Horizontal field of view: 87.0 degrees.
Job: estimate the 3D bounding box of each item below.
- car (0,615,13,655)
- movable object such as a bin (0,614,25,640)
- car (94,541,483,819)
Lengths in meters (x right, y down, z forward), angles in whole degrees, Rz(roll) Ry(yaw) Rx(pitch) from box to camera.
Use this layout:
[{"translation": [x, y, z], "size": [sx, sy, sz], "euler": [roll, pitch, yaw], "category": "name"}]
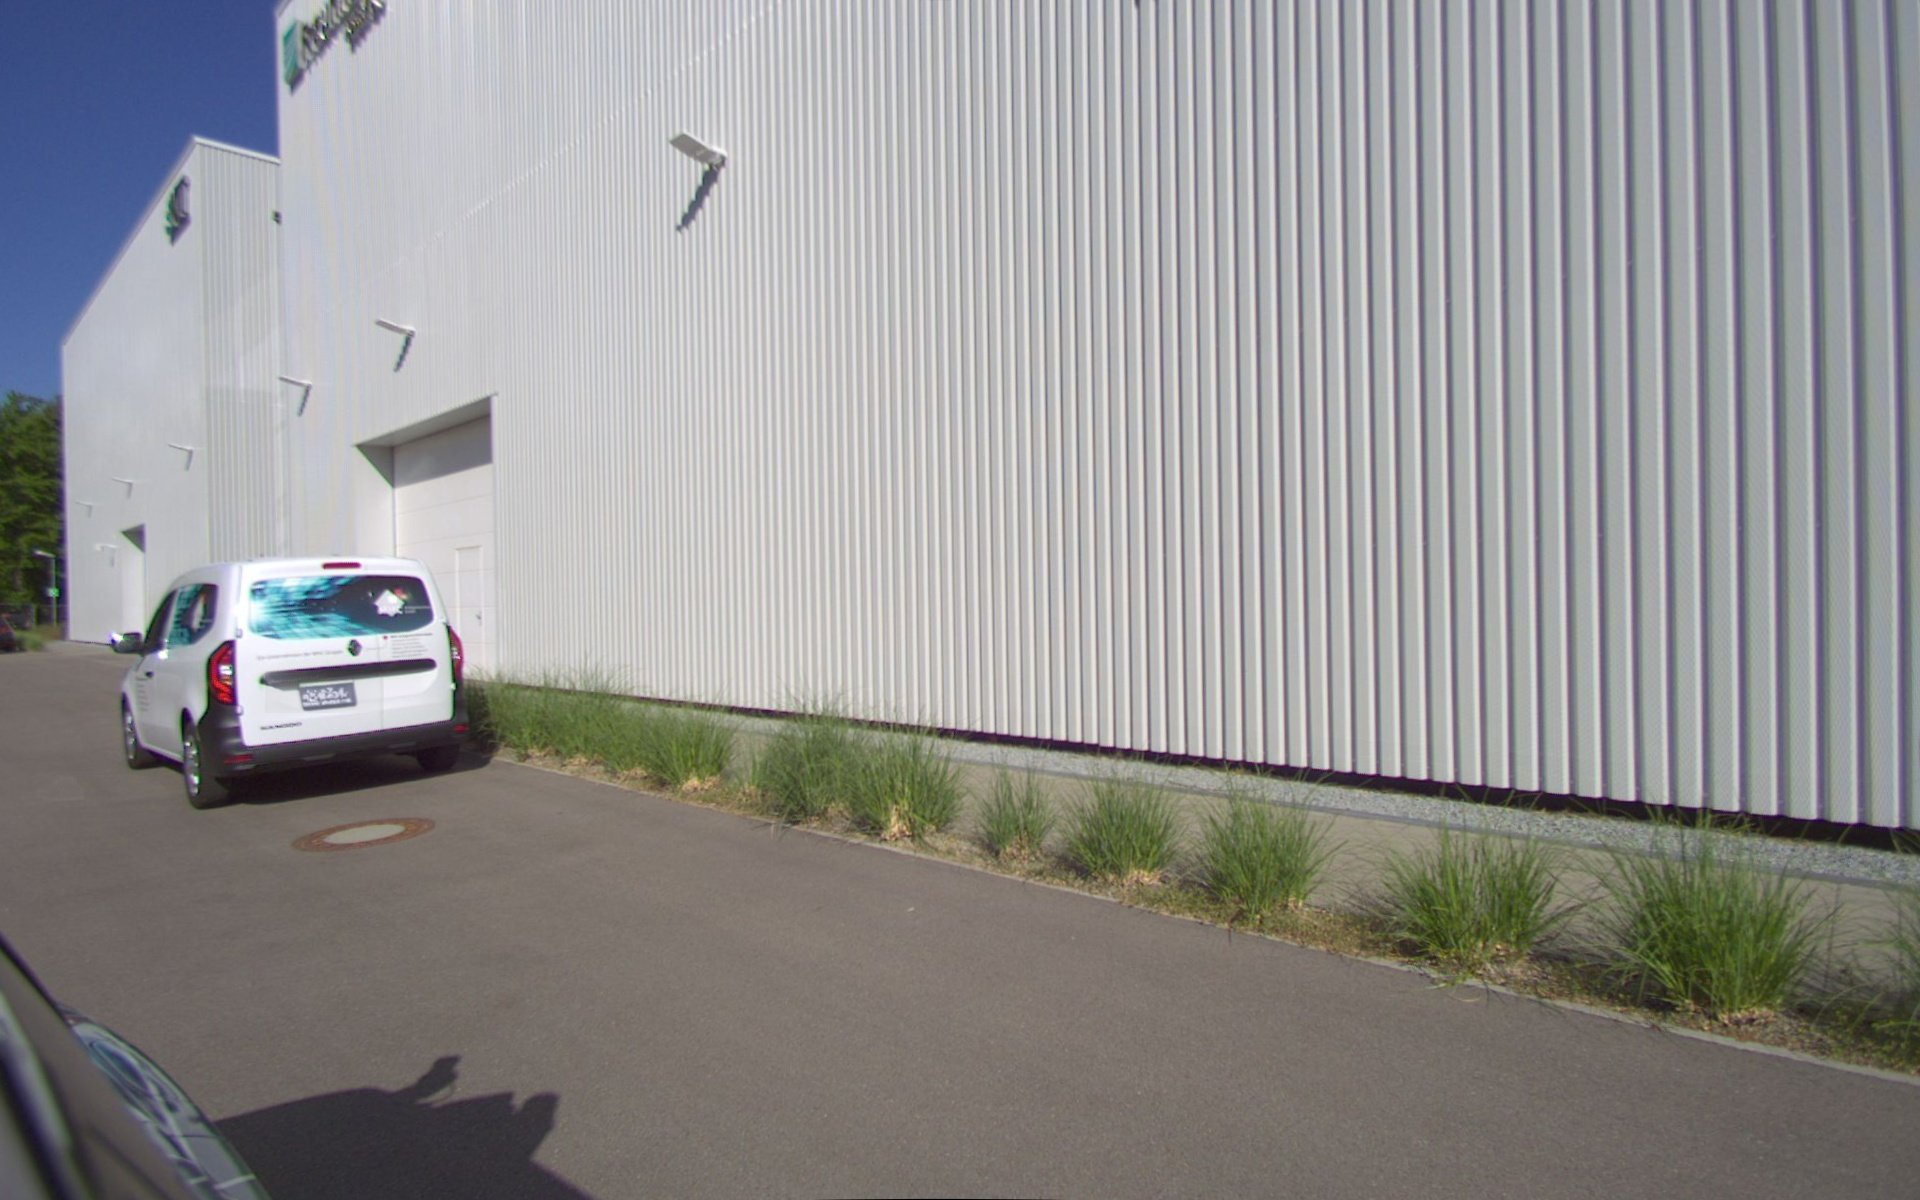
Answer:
[{"translation": [-37.248, 1.379, 38.320], "size": [4.315, 1.456, 1.737], "euler": [-2, 1, 43], "category": "car"}, {"translation": [-54.460, 1.531, 58.038], "size": [1.289, 1.445, 1.125], "euler": [-1, -2, 43], "category": "movable object such as a bin"}, {"translation": [-6.057, 0.506, 8.867], "size": [4.601, 1.829, 1.764], "euler": [-1, 2, 43], "category": "car"}]
